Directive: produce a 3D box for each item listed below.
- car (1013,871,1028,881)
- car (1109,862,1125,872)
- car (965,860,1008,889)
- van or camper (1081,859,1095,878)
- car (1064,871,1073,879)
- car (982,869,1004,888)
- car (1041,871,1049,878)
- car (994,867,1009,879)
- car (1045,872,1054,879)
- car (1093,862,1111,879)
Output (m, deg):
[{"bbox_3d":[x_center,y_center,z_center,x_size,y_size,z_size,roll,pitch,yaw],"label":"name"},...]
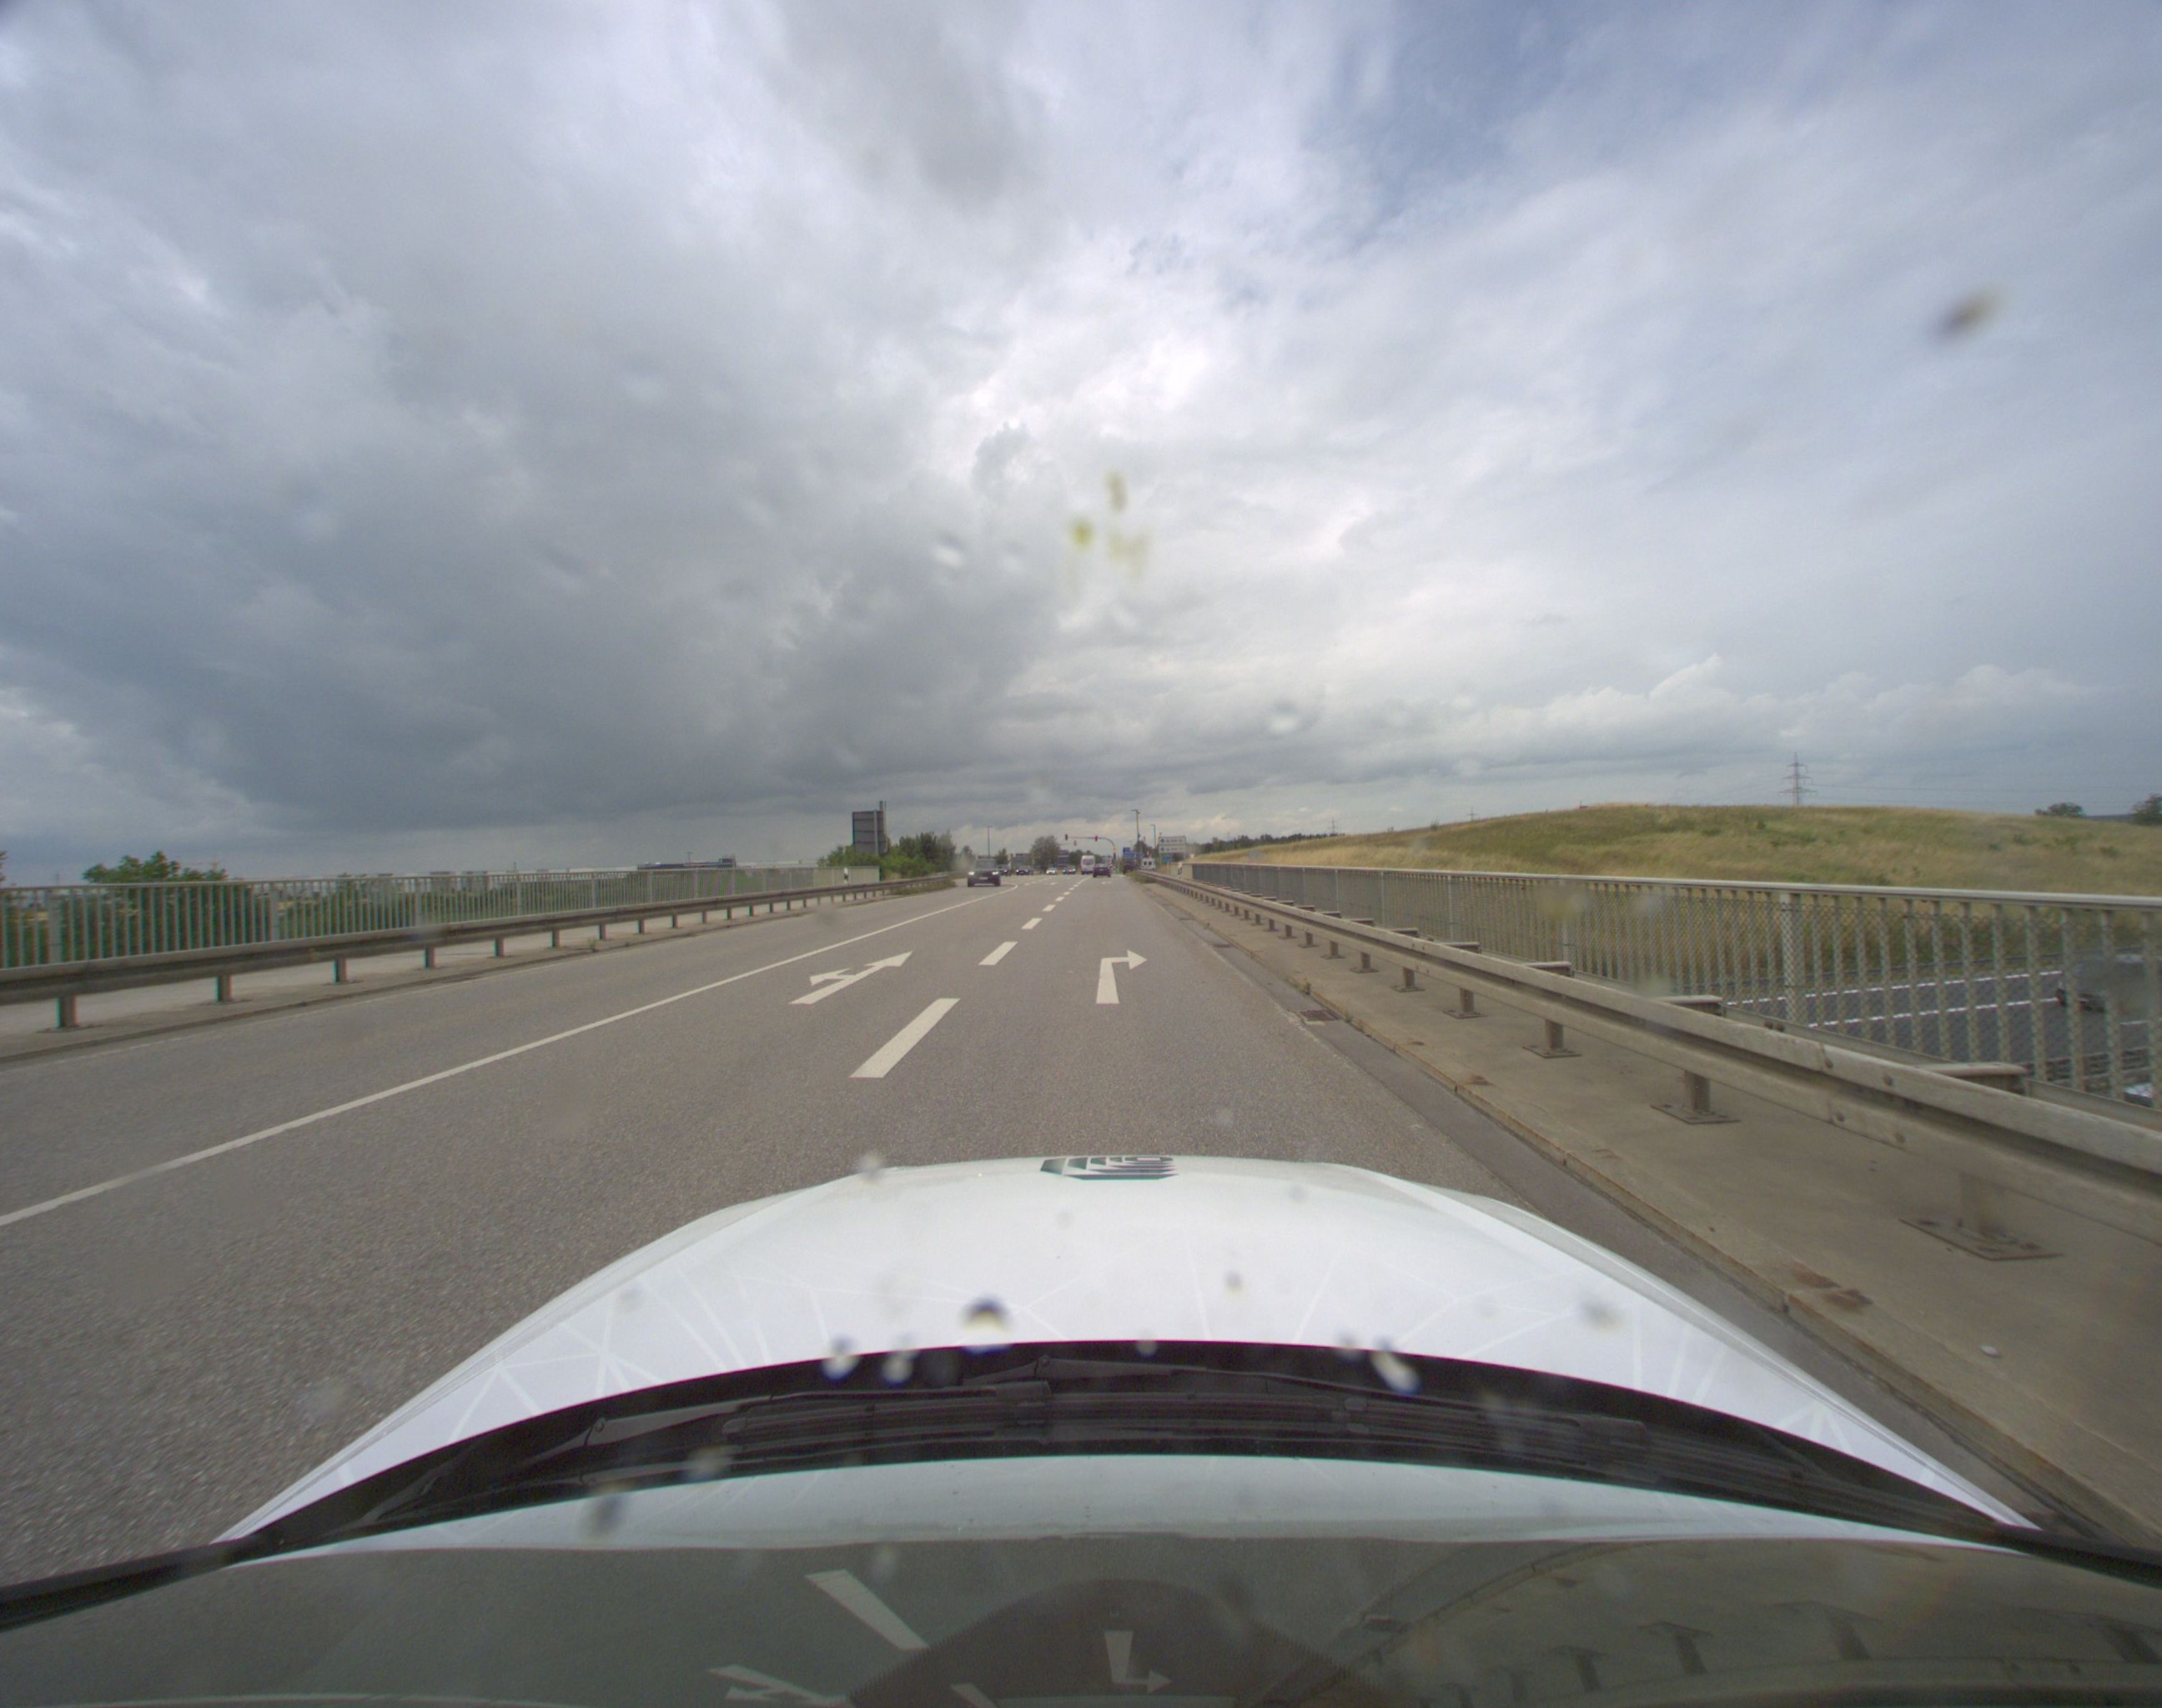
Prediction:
[{"bbox_3d":[-8.932,3.283,121.132,1.803,1.368,4.785,-1,0,0],"label":"car"},{"bbox_3d":[5.552,2.045,126.543,1.669,1.544,3.630,-2,-1,15],"label":"car"},{"bbox_3d":[-5.943,1.284,51.721,1.986,1.732,4.764,0,-1,2],"label":"car"},{"bbox_3d":[0.981,1.983,112.364,1.869,2.581,4.001,0,-1,2],"label":"van or camper"},{"bbox_3d":[-2.607,4.374,168.673,1.688,1.368,3.943,-1,2,0],"label":"car"},{"bbox_3d":[-7.178,1.964,66.512,1.709,1.487,4.270,0,-1,-5],"label":"car"},{"bbox_3d":[-7.883,4.514,179.702,1.475,1.282,3.535,-2,-1,3],"label":"car"},{"bbox_3d":[-10.263,2.462,104.987,1.578,1.558,4.144,-1,-1,-1],"label":"car"},{"bbox_3d":[-6.694,4.498,172.088,1.475,1.282,3.535,-2,-1,3],"label":"car"},{"bbox_3d":[2.061,1.603,79.340,1.511,1.485,3.619,-2,-1,4],"label":"car"}]
